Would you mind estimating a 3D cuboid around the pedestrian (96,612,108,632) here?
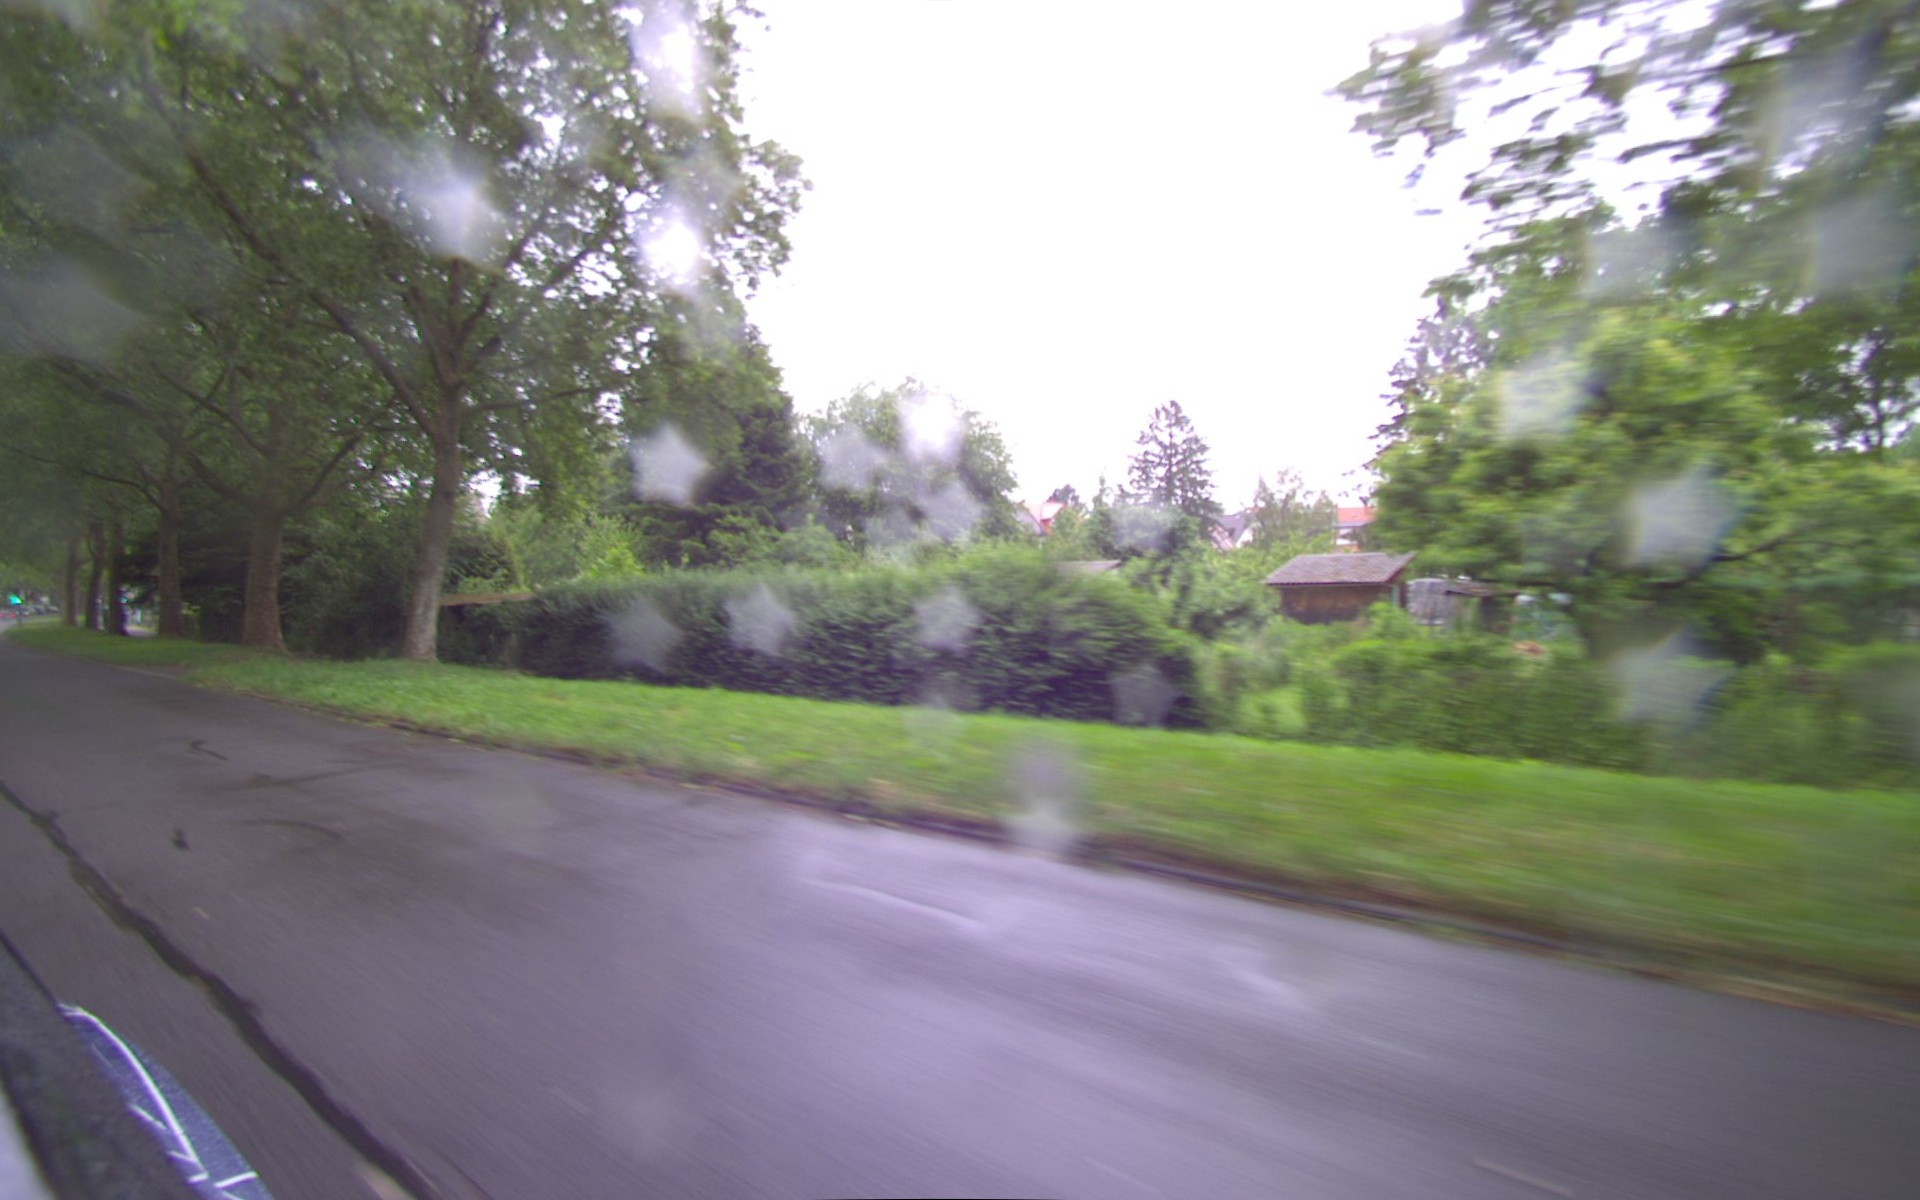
[{"bbox_3d":[-63.339,1.598,74.710,0.591,1.464,0.857,-2,0,-44],"label":"pedestrian"}]
